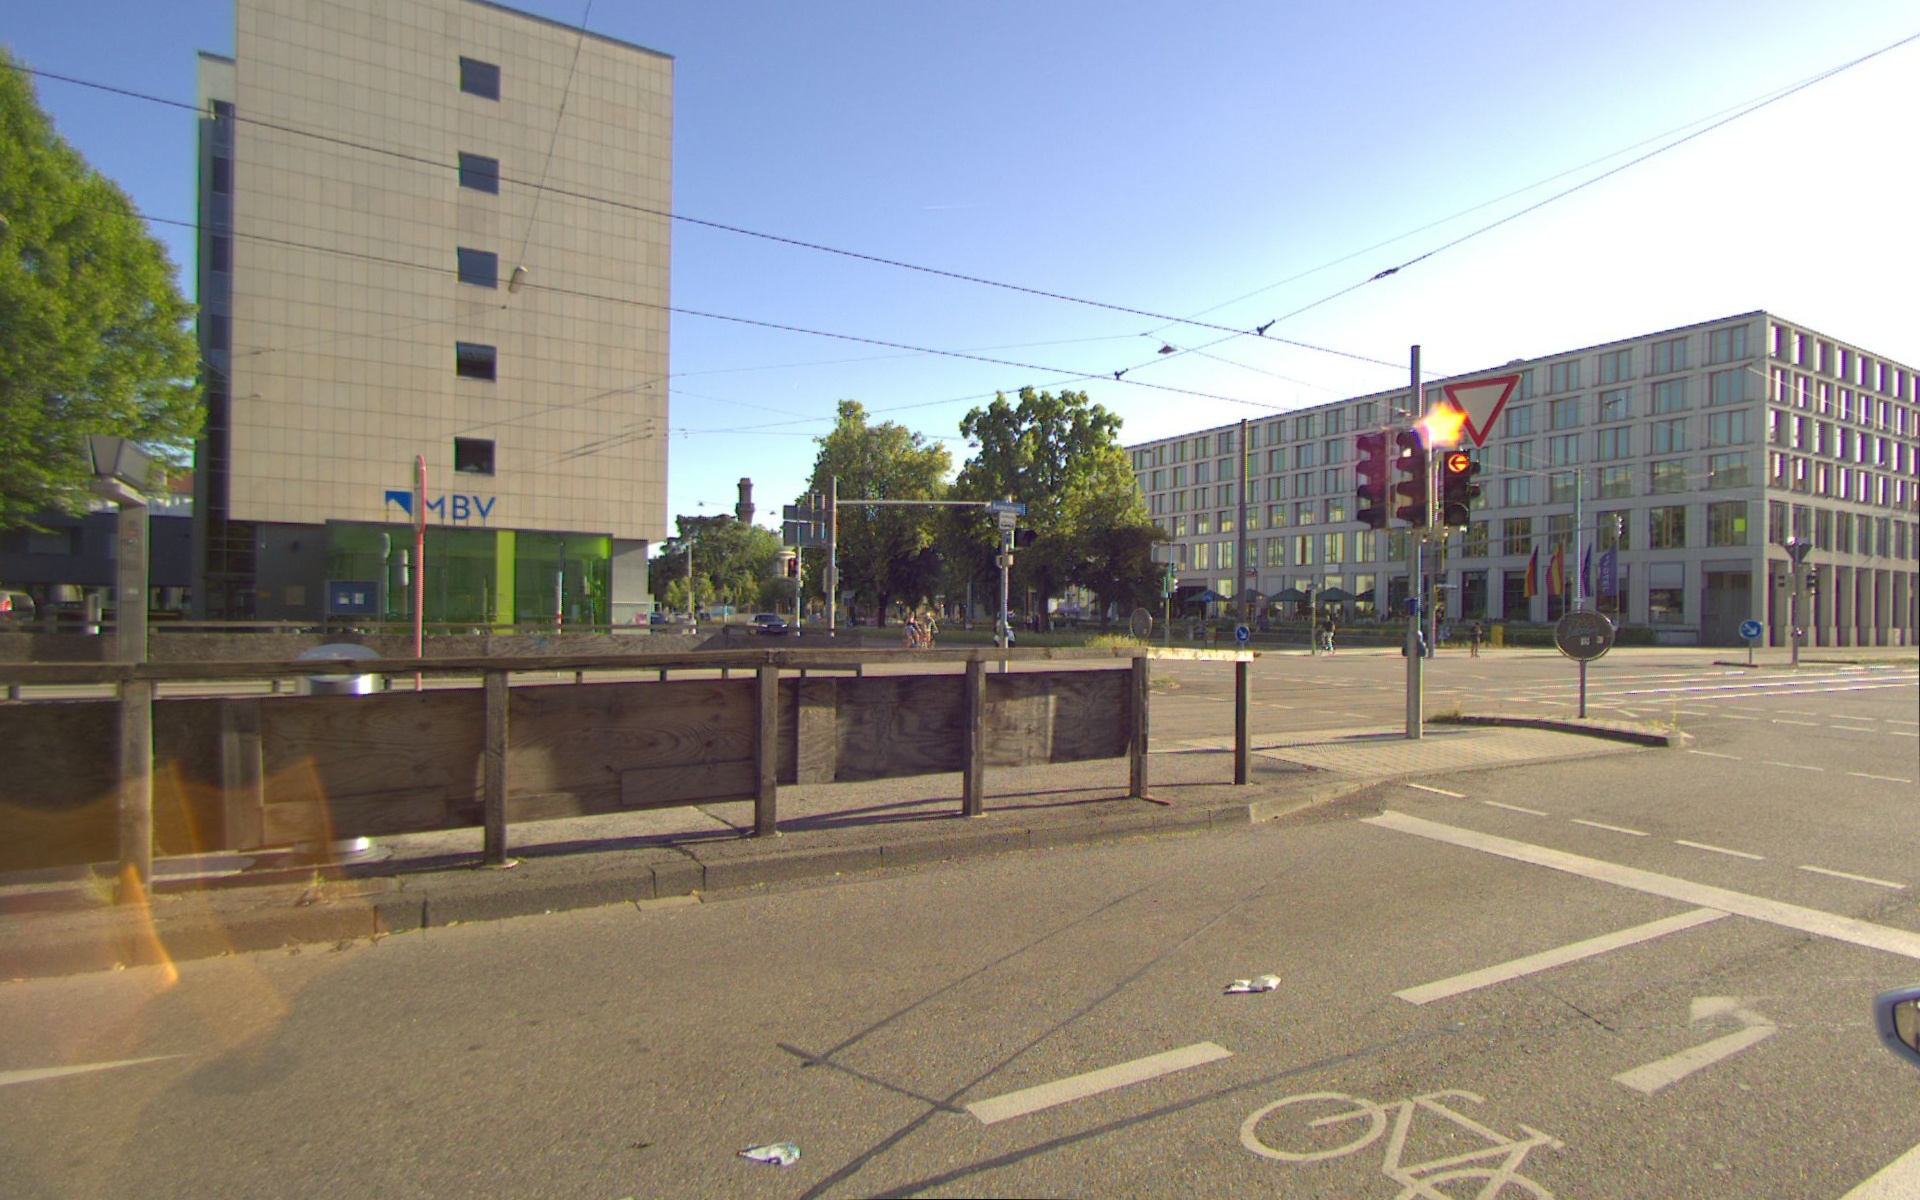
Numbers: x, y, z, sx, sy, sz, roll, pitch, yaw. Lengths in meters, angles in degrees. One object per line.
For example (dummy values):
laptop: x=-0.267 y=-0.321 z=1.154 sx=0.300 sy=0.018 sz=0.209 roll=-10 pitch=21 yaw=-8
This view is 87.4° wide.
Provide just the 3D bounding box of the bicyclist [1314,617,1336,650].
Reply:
bicyclist: x=17.945 y=1.634 z=49.399 sx=0.763 sy=1.610 sz=0.761 roll=1 pitch=-1 yaw=-5

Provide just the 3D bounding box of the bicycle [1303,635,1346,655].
bicycle: x=17.908 y=2.194 z=49.396 sx=1.829 sy=0.947 sz=0.762 roll=1 pitch=-1 yaw=-9

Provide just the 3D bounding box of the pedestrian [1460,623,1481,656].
pedestrian: x=24.966 y=1.917 z=49.108 sx=0.586 sy=1.610 sz=0.769 roll=1 pitch=-1 yaw=-39

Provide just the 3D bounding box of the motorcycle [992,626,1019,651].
motorcycle: x=2.172 y=1.824 z=48.098 sx=0.524 sy=1.153 sz=1.449 roll=1 pitch=-1 yaw=-34

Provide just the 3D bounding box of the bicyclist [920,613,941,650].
bicyclist: x=-1.255 y=1.339 z=42.220 sx=0.602 sy=1.544 sz=0.709 roll=1 pitch=-1 yaw=-32

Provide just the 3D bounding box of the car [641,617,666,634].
car: x=-32.896 y=2.728 z=107.708 sx=1.613 sy=1.639 sz=3.618 roll=2 pitch=0 yaw=-32

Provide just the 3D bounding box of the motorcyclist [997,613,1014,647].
motorcyclist: x=2.176 y=1.440 z=48.095 sx=0.561 sy=1.598 sz=0.643 roll=1 pitch=-1 yaw=-33

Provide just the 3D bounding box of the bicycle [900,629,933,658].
bicycle: x=-1.832 y=1.795 z=41.719 sx=0.574 sy=1.148 sz=1.776 roll=1 pitch=-1 yaw=-31

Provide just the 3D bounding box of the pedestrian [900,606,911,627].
pedestrian: x=-5.403 y=1.602 z=99.421 sx=0.814 sy=2.040 sz=0.839 roll=2 pitch=0 yaw=-26

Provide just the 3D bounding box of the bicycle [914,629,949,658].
bicycle: x=-1.220 y=1.825 z=42.141 sx=0.616 sy=1.148 sz=1.869 roll=1 pitch=-1 yaw=-31

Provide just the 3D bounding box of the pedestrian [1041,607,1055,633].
pedestrian: x=7.039 y=1.609 z=80.097 sx=0.812 sy=2.040 sz=0.841 roll=2 pitch=0 yaw=-20

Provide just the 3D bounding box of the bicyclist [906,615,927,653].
bicyclist: x=-1.811 y=1.400 z=41.695 sx=0.647 sy=1.544 sz=0.615 roll=1 pitch=-1 yaw=-32

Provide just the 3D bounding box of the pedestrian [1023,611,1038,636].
pedestrian: x=5.588 y=1.850 z=79.483 sx=0.864 sy=1.925 sz=0.712 roll=2 pitch=0 yaw=-29

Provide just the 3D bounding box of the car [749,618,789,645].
car: x=-12.852 y=2.095 z=67.531 sx=1.611 sy=1.639 sz=3.623 roll=2 pitch=0 yaw=-28
